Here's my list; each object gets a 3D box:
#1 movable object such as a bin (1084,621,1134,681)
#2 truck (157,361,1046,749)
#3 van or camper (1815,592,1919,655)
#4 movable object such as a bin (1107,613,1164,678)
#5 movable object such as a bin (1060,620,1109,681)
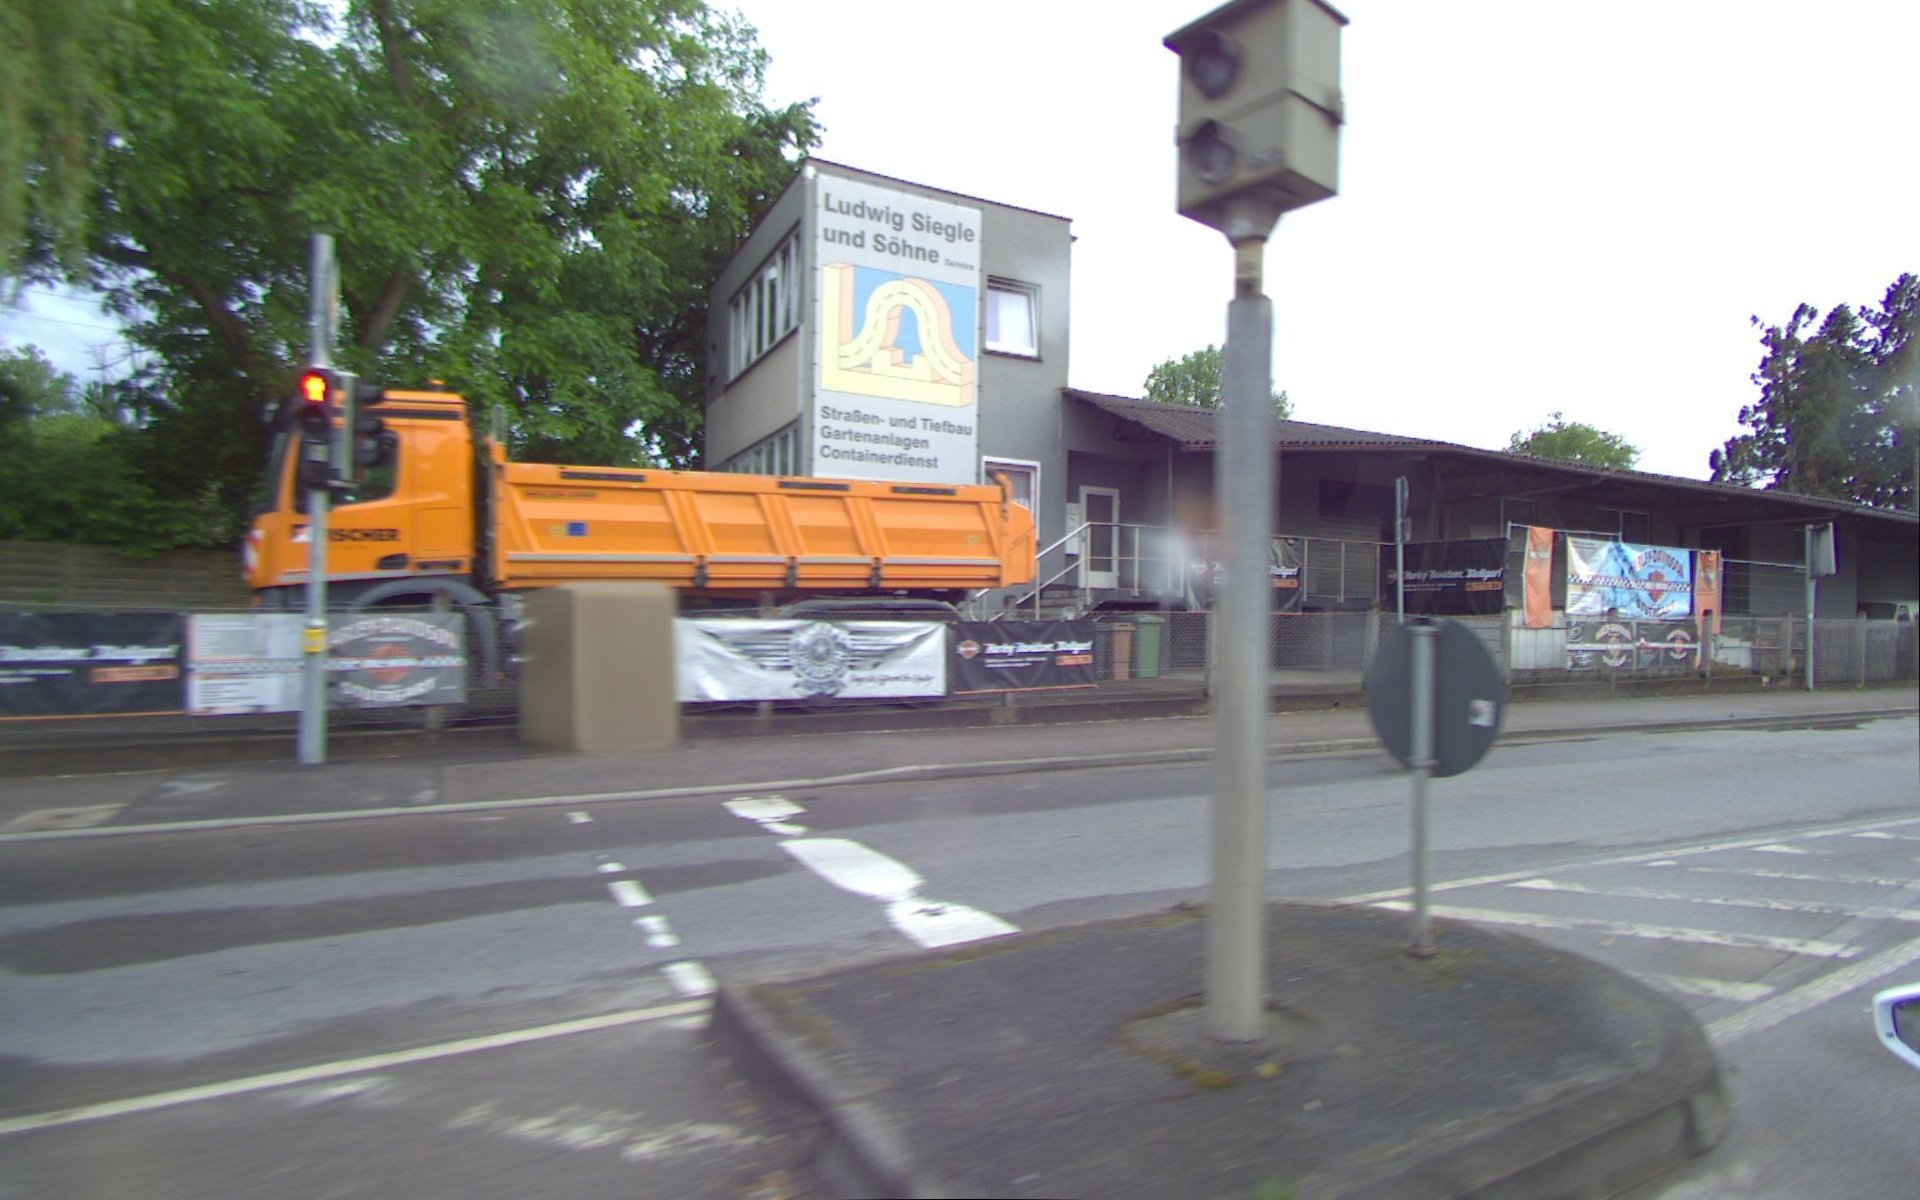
[{"bbox_3d":[2.504,0.842,16.884,0.472,0.969,0.760,1,0,-28],"label":"movable object such as a bin"},{"bbox_3d":[-3.582,-0.208,12.082,8.951,3.457,2.689,3,1,-25],"label":"truck"},{"bbox_3d":[31.110,0.791,33.942,4.419,1.935,1.984,1,1,-30],"label":"van or camper"},{"bbox_3d":[2.993,0.769,17.168,0.616,1.070,0.760,1,0,-28],"label":"movable object such as a bin"},{"bbox_3d":[2.059,0.824,16.658,0.455,0.969,0.745,1,0,-28],"label":"movable object such as a bin"}]
